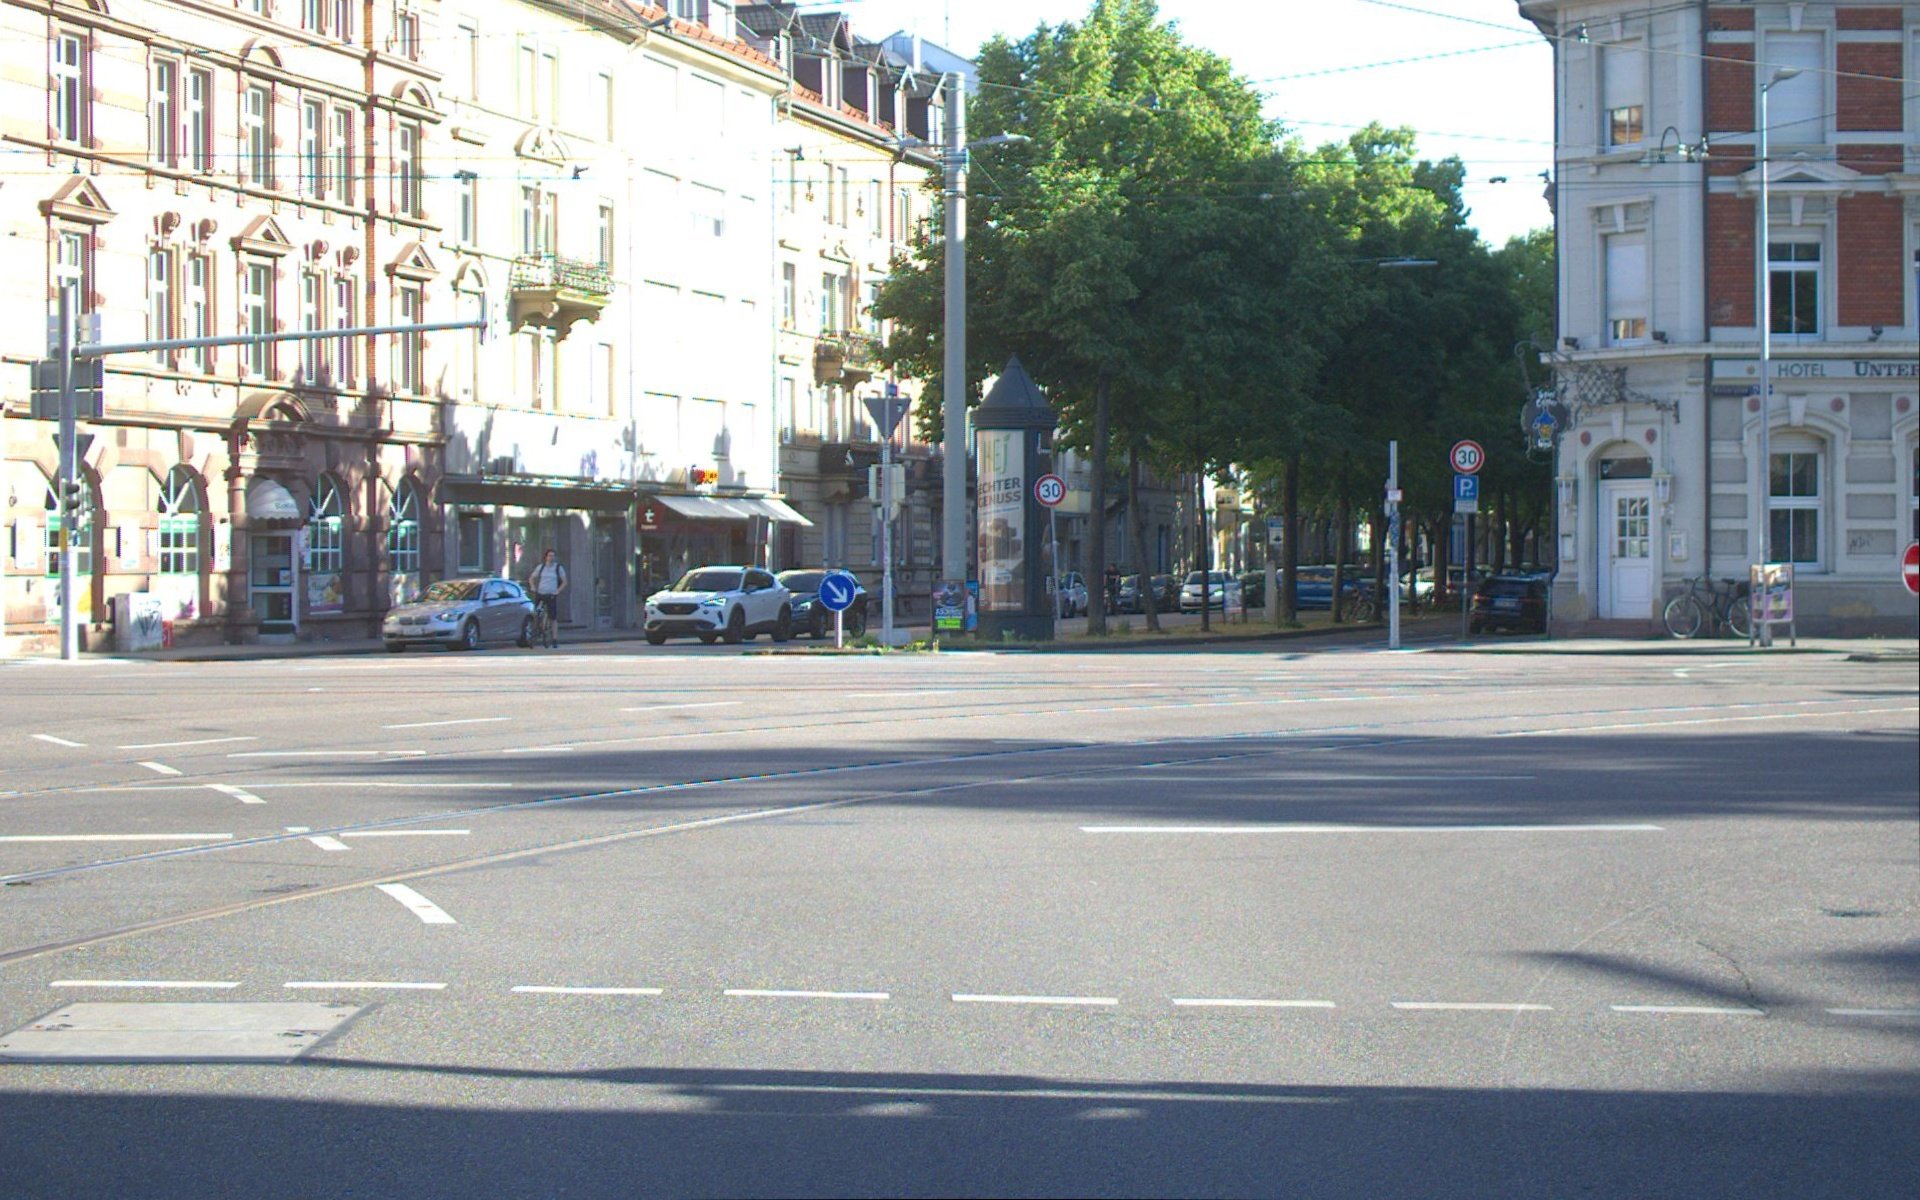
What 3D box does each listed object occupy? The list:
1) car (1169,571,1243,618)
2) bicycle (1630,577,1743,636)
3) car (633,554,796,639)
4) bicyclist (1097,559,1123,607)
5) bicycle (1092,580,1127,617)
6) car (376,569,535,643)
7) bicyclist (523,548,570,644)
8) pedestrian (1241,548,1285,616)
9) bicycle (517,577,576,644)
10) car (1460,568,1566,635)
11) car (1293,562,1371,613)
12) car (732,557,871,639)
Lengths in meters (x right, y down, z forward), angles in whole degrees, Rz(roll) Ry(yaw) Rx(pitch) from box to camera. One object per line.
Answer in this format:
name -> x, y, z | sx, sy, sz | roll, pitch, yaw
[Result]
car -> 8.497, -0.187, 118.283 | 1.804, 1.570, 3.888 | 1, 1, 15
bicycle -> 12.070, 0.103, 57.116 | 1.804, 0.959, 0.603 | 1, 0, 14
car -> -4.766, -0.087, 67.254 | 1.804, 1.579, 4.156 | 1, 1, 17
bicyclist -> 4.922, -0.544, 112.628 | 0.674, 1.563, 0.747 | 1, 0, 18
bicycle -> 4.915, -0.045, 112.630 | 0.674, 1.203, 1.820 | 1, 1, 18
car -> -9.792, 0.106, 67.014 | 1.661, 1.369, 3.889 | 1, 1, 15
bicyclist -> -7.836, -0.086, 65.141 | 0.565, 1.797, 0.913 | 1, 0, 15
pedestrian -> 8.947, -0.529, 101.433 | 0.961, 2.007, 0.919 | 1, 0, -20
bicycle -> -7.832, 0.194, 65.136 | 0.565, 1.250, 1.556 | 1, 0, 14
car -> 13.298, 0.024, 82.508 | 1.758, 1.550, 3.996 | 1, 1, 20
car -> 12.629, -0.418, 116.607 | 1.995, 1.678, 3.997 | 1, 1, 15
car -> -3.359, -0.058, 73.611 | 1.826, 1.679, 3.872 | 1, 1, 16
